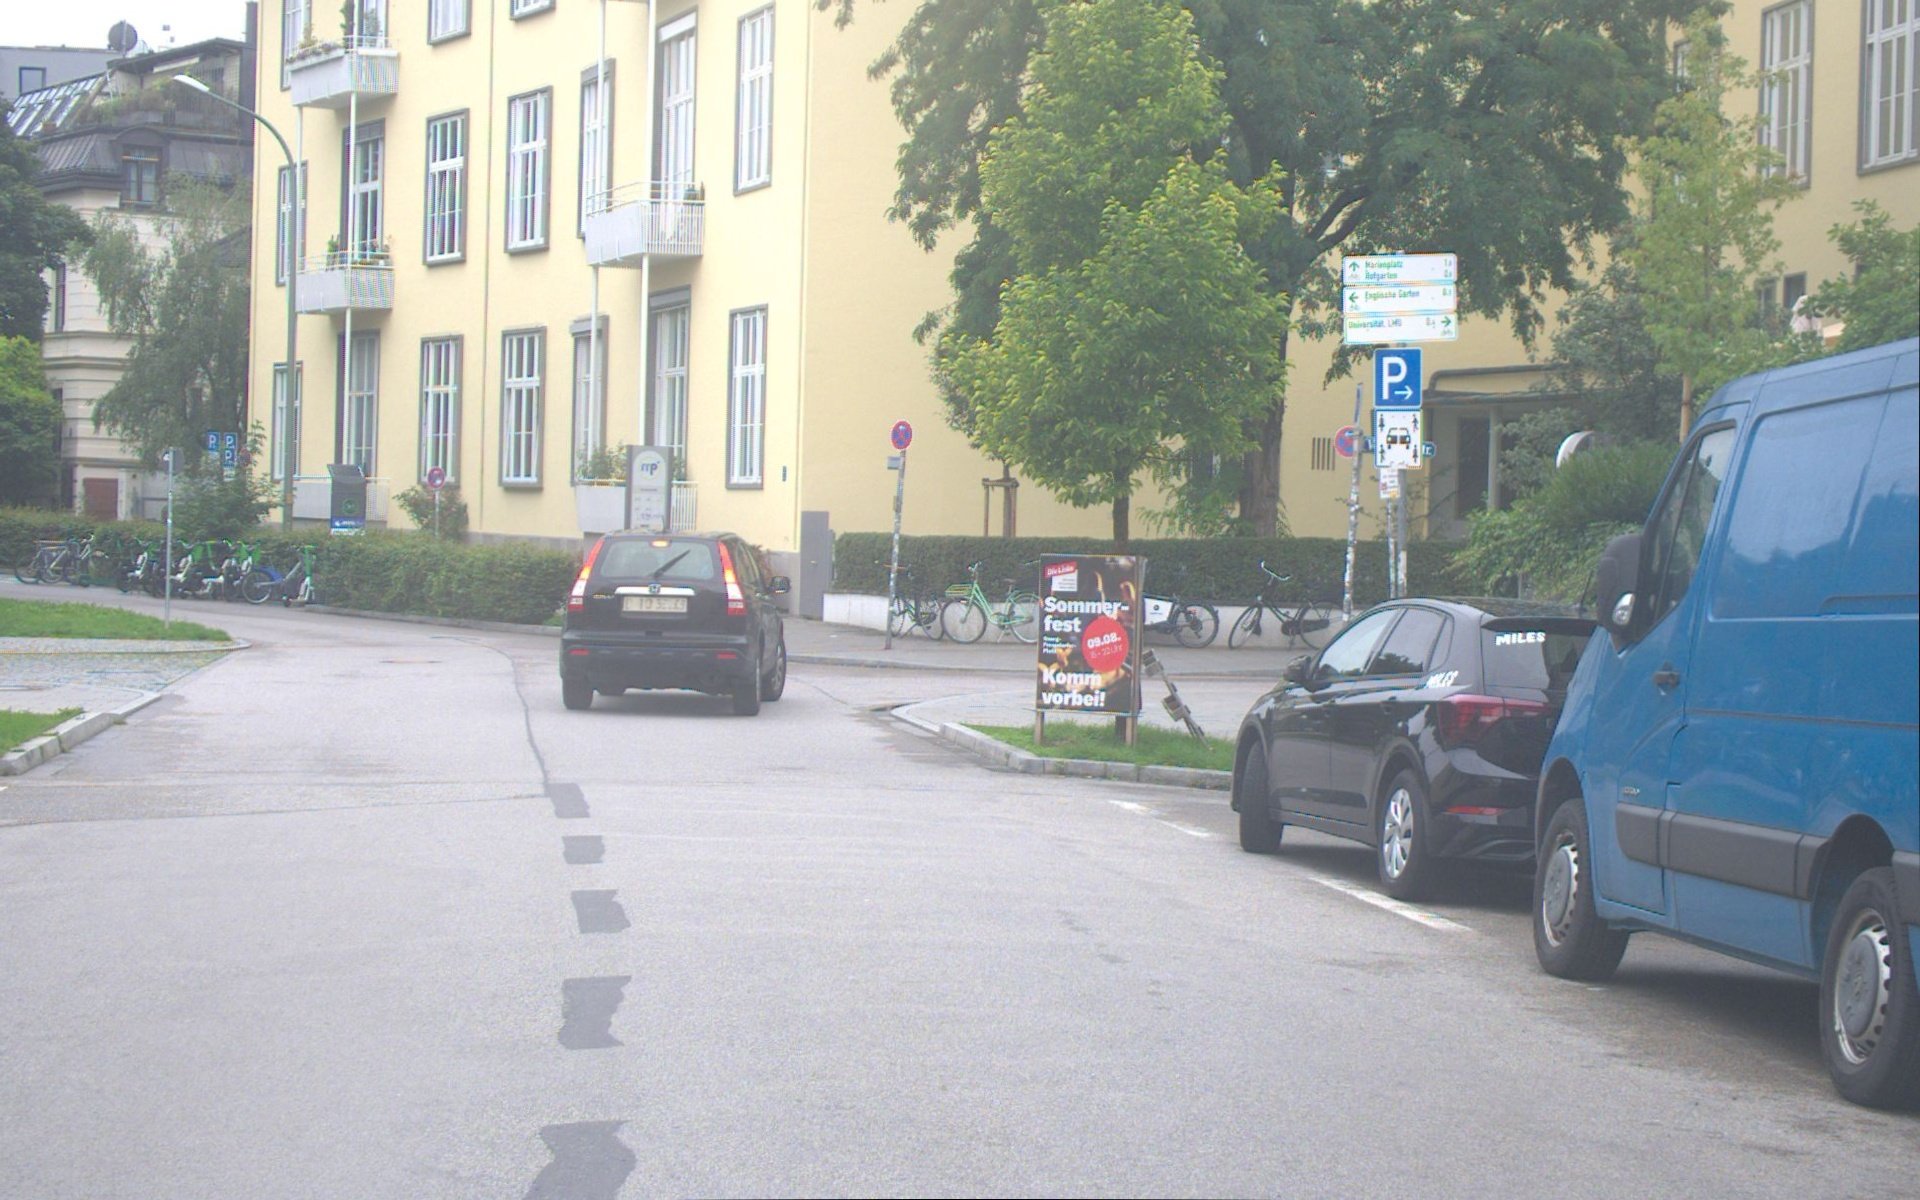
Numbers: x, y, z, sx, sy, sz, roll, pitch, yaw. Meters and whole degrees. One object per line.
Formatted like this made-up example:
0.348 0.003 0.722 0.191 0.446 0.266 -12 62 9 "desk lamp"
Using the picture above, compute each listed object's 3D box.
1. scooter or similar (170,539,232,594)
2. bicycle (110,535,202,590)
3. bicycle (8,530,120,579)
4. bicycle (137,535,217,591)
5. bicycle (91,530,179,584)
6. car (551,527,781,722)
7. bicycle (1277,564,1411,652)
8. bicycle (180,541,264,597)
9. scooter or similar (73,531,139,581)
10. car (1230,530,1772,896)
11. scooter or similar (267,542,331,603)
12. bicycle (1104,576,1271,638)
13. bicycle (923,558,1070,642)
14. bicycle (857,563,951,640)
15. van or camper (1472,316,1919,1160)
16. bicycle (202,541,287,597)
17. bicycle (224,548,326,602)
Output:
-15.188 -0.673 68.800 0.496 1.084 1.408 1 2 22 "scooter or similar"
-16.302 -0.773 69.784 0.696 1.082 2.337 1 2 18 "bicycle"
-20.071 -1.022 77.008 2.331 1.082 0.692 0 2 -36 "bicycle"
-15.723 -0.746 69.100 0.638 1.082 1.984 1 2 18 "bicycle"
-17.153 -0.911 71.490 0.763 1.082 2.139 1 2 18 "bicycle"
-2.746 0.174 32.703 1.995 1.688 4.381 1 1 -4 "car"
5.314 0.107 47.615 1.734 1.146 0.610 2 1 -2 "bicycle"
-14.688 -0.629 68.482 0.576 1.082 1.931 1 2 26 "bicycle"
-18.731 -0.962 75.434 1.404 1.084 0.597 0 2 -13 "scooter or similar"
2.589 0.474 17.418 1.703 1.513 3.959 5 1 -5 "car"
-12.414 -0.527 64.602 0.496 1.105 1.408 1 2 22 "scooter or similar"
3.153 0.089 47.550 2.211 0.776 0.610 2 1 14 "bicycle"
0.512 -0.008 48.831 2.216 1.113 0.608 3 1 42 "bicycle"
-0.848 0.010 50.968 0.608 1.069 2.218 0 2 -23 "bicycle"
3.415 0.390 11.165 2.060 2.223 5.439 6 1 -5 "van or camper"
-14.143 -0.621 67.962 0.576 1.082 1.931 1 2 26 "bicycle"
-13.115 -0.485 65.842 1.823 1.002 0.577 0 2 -33 "bicycle"
